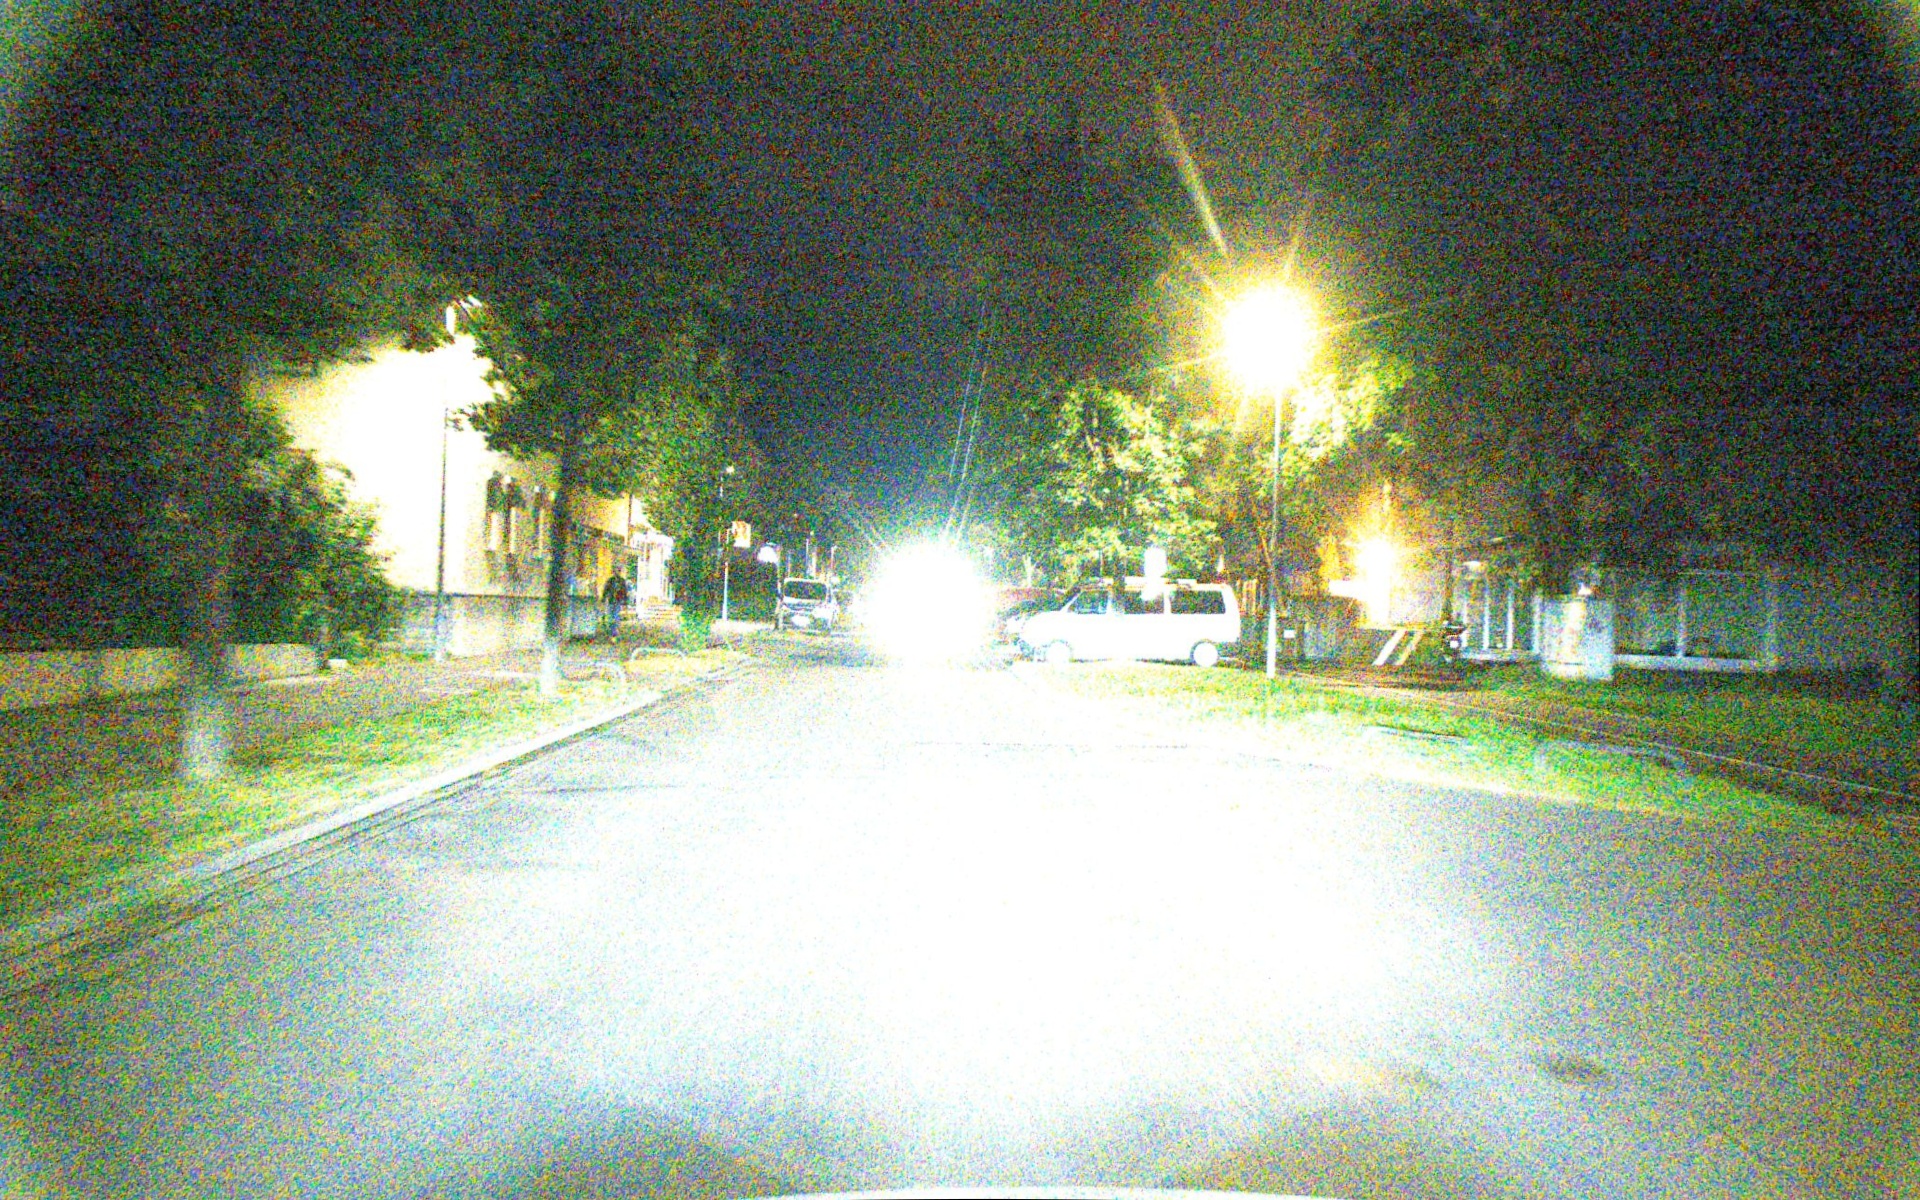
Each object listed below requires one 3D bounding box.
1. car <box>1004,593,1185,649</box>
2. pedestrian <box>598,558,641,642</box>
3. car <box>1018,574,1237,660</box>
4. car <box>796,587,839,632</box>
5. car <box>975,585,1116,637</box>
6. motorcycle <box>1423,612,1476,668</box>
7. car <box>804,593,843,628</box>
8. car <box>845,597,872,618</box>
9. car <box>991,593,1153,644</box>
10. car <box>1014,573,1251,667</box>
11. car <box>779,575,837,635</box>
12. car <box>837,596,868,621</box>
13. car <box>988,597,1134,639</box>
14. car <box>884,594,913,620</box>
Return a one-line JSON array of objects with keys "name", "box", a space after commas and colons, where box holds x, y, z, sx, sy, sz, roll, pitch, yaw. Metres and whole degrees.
[{"name": "car", "box": [3.885, 0.594, 48.323, 5.078, 1.622, 2.101, 0, 0, -3]}, {"name": "pedestrian", "box": [-8.597, -0.010, 41.814, 0.769, 2.048, 1.204, 3, 0, -1]}, {"name": "car", "box": [4.020, 0.399, 40.346, 5.078, 2.049, 2.101, 0, 0, -3]}, {"name": "car", "box": [-5.816, 0.375, 67.711, 1.503, 1.717, 3.210, 3, 0, -2]}, {"name": "car", "box": [3.232, 0.389, 61.917, 5.072, 1.920, 2.103, 0, 0, 8]}, {"name": "motorcycle", "box": [12.886, 1.030, 43.451, 1.048, 1.350, 2.706, 2, 1, 22]}, {"name": "car", "box": [-5.986, 0.465, 72.740, 1.503, 1.476, 3.118, 1, 0, -2]}, {"name": "car", "box": [-6.679, 0.479, 109.366, 1.649, 1.354, 3.598, 1, 0, -2]}, {"name": "car", "box": [3.609, 0.593, 53.809, 5.078, 1.622, 2.101, 0, 0, -3]}, {"name": "car", "box": [3.812, 0.435, 37.277, 5.078, 2.049, 2.101, 0, 0, -3]}, {"name": "car", "box": [-5.553, 0.162, 60.871, 1.788, 2.021, 4.463, 3, 0, -2]}, {"name": "car", "box": [-6.088, 0.484, 93.700, 1.649, 1.354, 3.598, 1, 0, -2]}, {"name": "car", "box": [3.586, 0.626, 59.324, 5.078, 1.495, 2.101, 0, 0, -3]}, {"name": "car", "box": [-4.174, 0.474, 111.996, 1.888, 1.677, 3.819, 0, 0, -2]}]
